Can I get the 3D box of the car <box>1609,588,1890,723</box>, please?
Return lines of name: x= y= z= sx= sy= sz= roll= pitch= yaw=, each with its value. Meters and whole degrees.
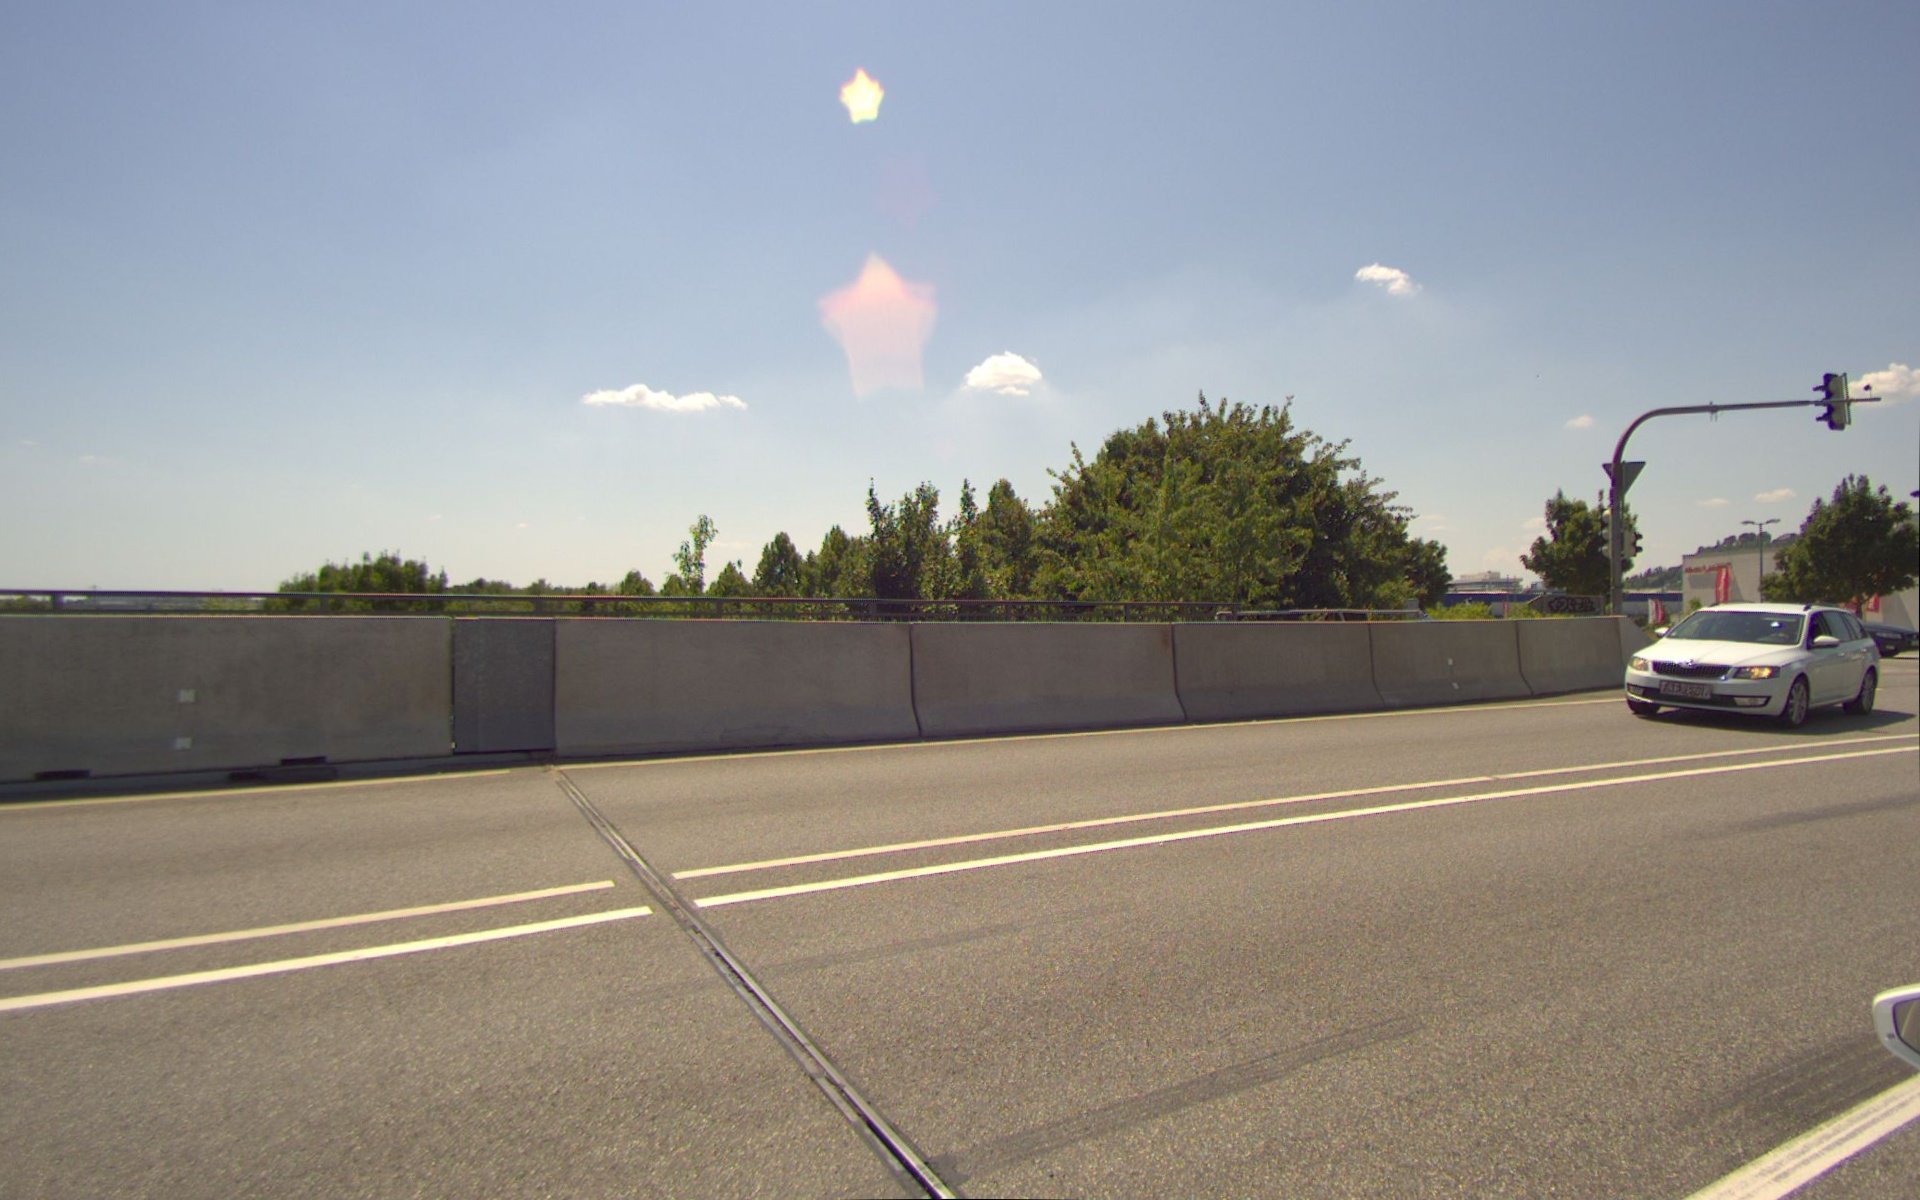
car: x=10.579 y=0.641 z=13.352 sx=4.506 sy=1.515 sz=1.775 roll=0 pitch=0 yaw=-36

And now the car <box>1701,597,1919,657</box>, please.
car: x=24.570 y=0.708 z=29.122 sx=1.717 sy=1.566 sz=4.693 roll=1 pitch=0 yaw=-32
